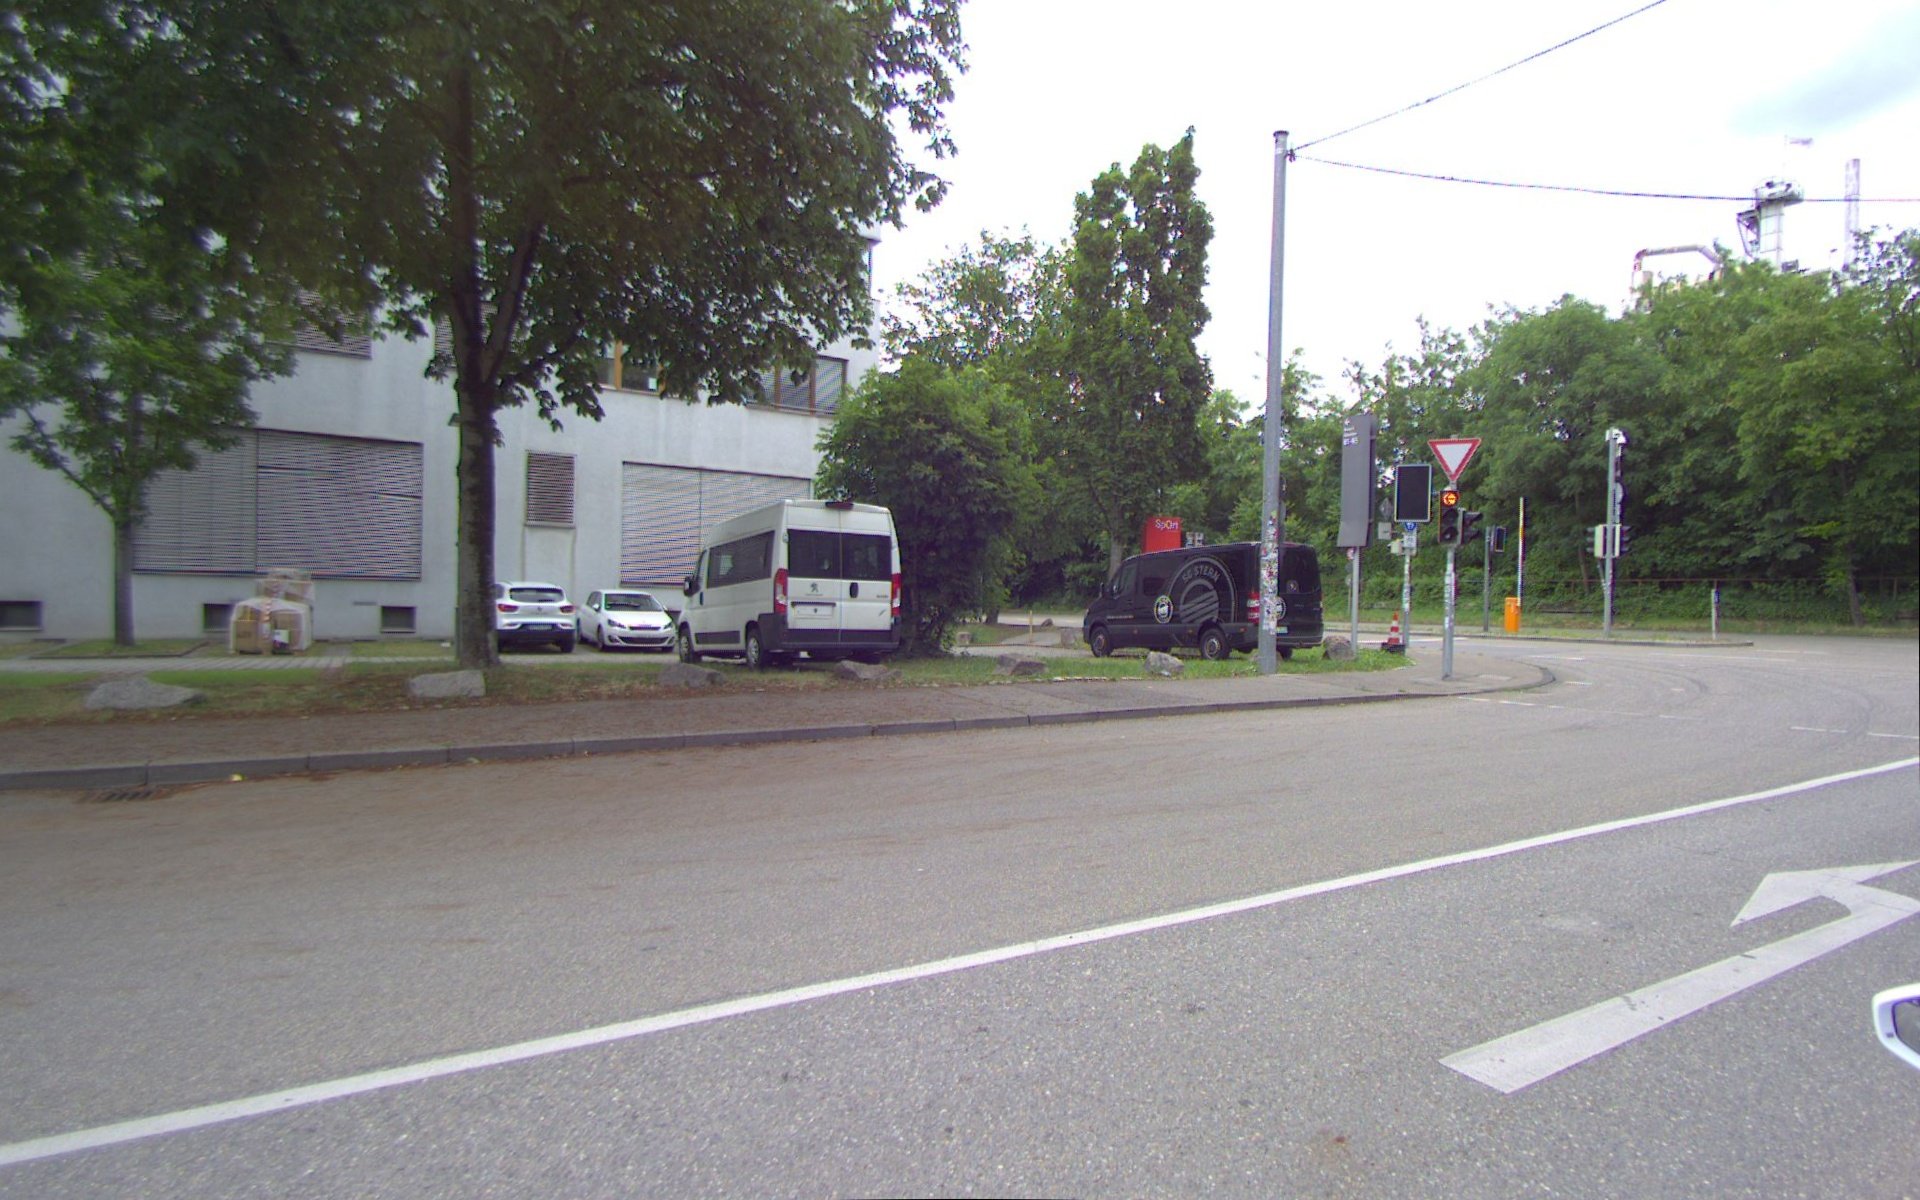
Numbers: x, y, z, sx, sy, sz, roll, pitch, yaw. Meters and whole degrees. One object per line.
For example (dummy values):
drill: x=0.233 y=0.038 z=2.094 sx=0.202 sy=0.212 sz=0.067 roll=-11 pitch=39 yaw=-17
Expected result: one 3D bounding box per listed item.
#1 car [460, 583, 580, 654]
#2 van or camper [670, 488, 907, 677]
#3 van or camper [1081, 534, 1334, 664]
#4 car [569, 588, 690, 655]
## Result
car: x=-10.578 y=0.410 z=23.991 sx=1.881 sy=1.475 sz=3.972 roll=3 pitch=0 yaw=-34
van or camper: x=-2.991 y=-0.260 z=16.435 sx=2.039 sy=2.604 sz=4.943 roll=3 pitch=0 yaw=-32
van or camper: x=5.007 y=0.087 z=21.265 sx=2.036 sy=2.344 sz=5.513 roll=3 pitch=-3 yaw=-28
car: x=-8.493 y=0.509 z=25.599 sx=1.881 sy=1.475 sz=3.972 roll=3 pitch=0 yaw=-34
